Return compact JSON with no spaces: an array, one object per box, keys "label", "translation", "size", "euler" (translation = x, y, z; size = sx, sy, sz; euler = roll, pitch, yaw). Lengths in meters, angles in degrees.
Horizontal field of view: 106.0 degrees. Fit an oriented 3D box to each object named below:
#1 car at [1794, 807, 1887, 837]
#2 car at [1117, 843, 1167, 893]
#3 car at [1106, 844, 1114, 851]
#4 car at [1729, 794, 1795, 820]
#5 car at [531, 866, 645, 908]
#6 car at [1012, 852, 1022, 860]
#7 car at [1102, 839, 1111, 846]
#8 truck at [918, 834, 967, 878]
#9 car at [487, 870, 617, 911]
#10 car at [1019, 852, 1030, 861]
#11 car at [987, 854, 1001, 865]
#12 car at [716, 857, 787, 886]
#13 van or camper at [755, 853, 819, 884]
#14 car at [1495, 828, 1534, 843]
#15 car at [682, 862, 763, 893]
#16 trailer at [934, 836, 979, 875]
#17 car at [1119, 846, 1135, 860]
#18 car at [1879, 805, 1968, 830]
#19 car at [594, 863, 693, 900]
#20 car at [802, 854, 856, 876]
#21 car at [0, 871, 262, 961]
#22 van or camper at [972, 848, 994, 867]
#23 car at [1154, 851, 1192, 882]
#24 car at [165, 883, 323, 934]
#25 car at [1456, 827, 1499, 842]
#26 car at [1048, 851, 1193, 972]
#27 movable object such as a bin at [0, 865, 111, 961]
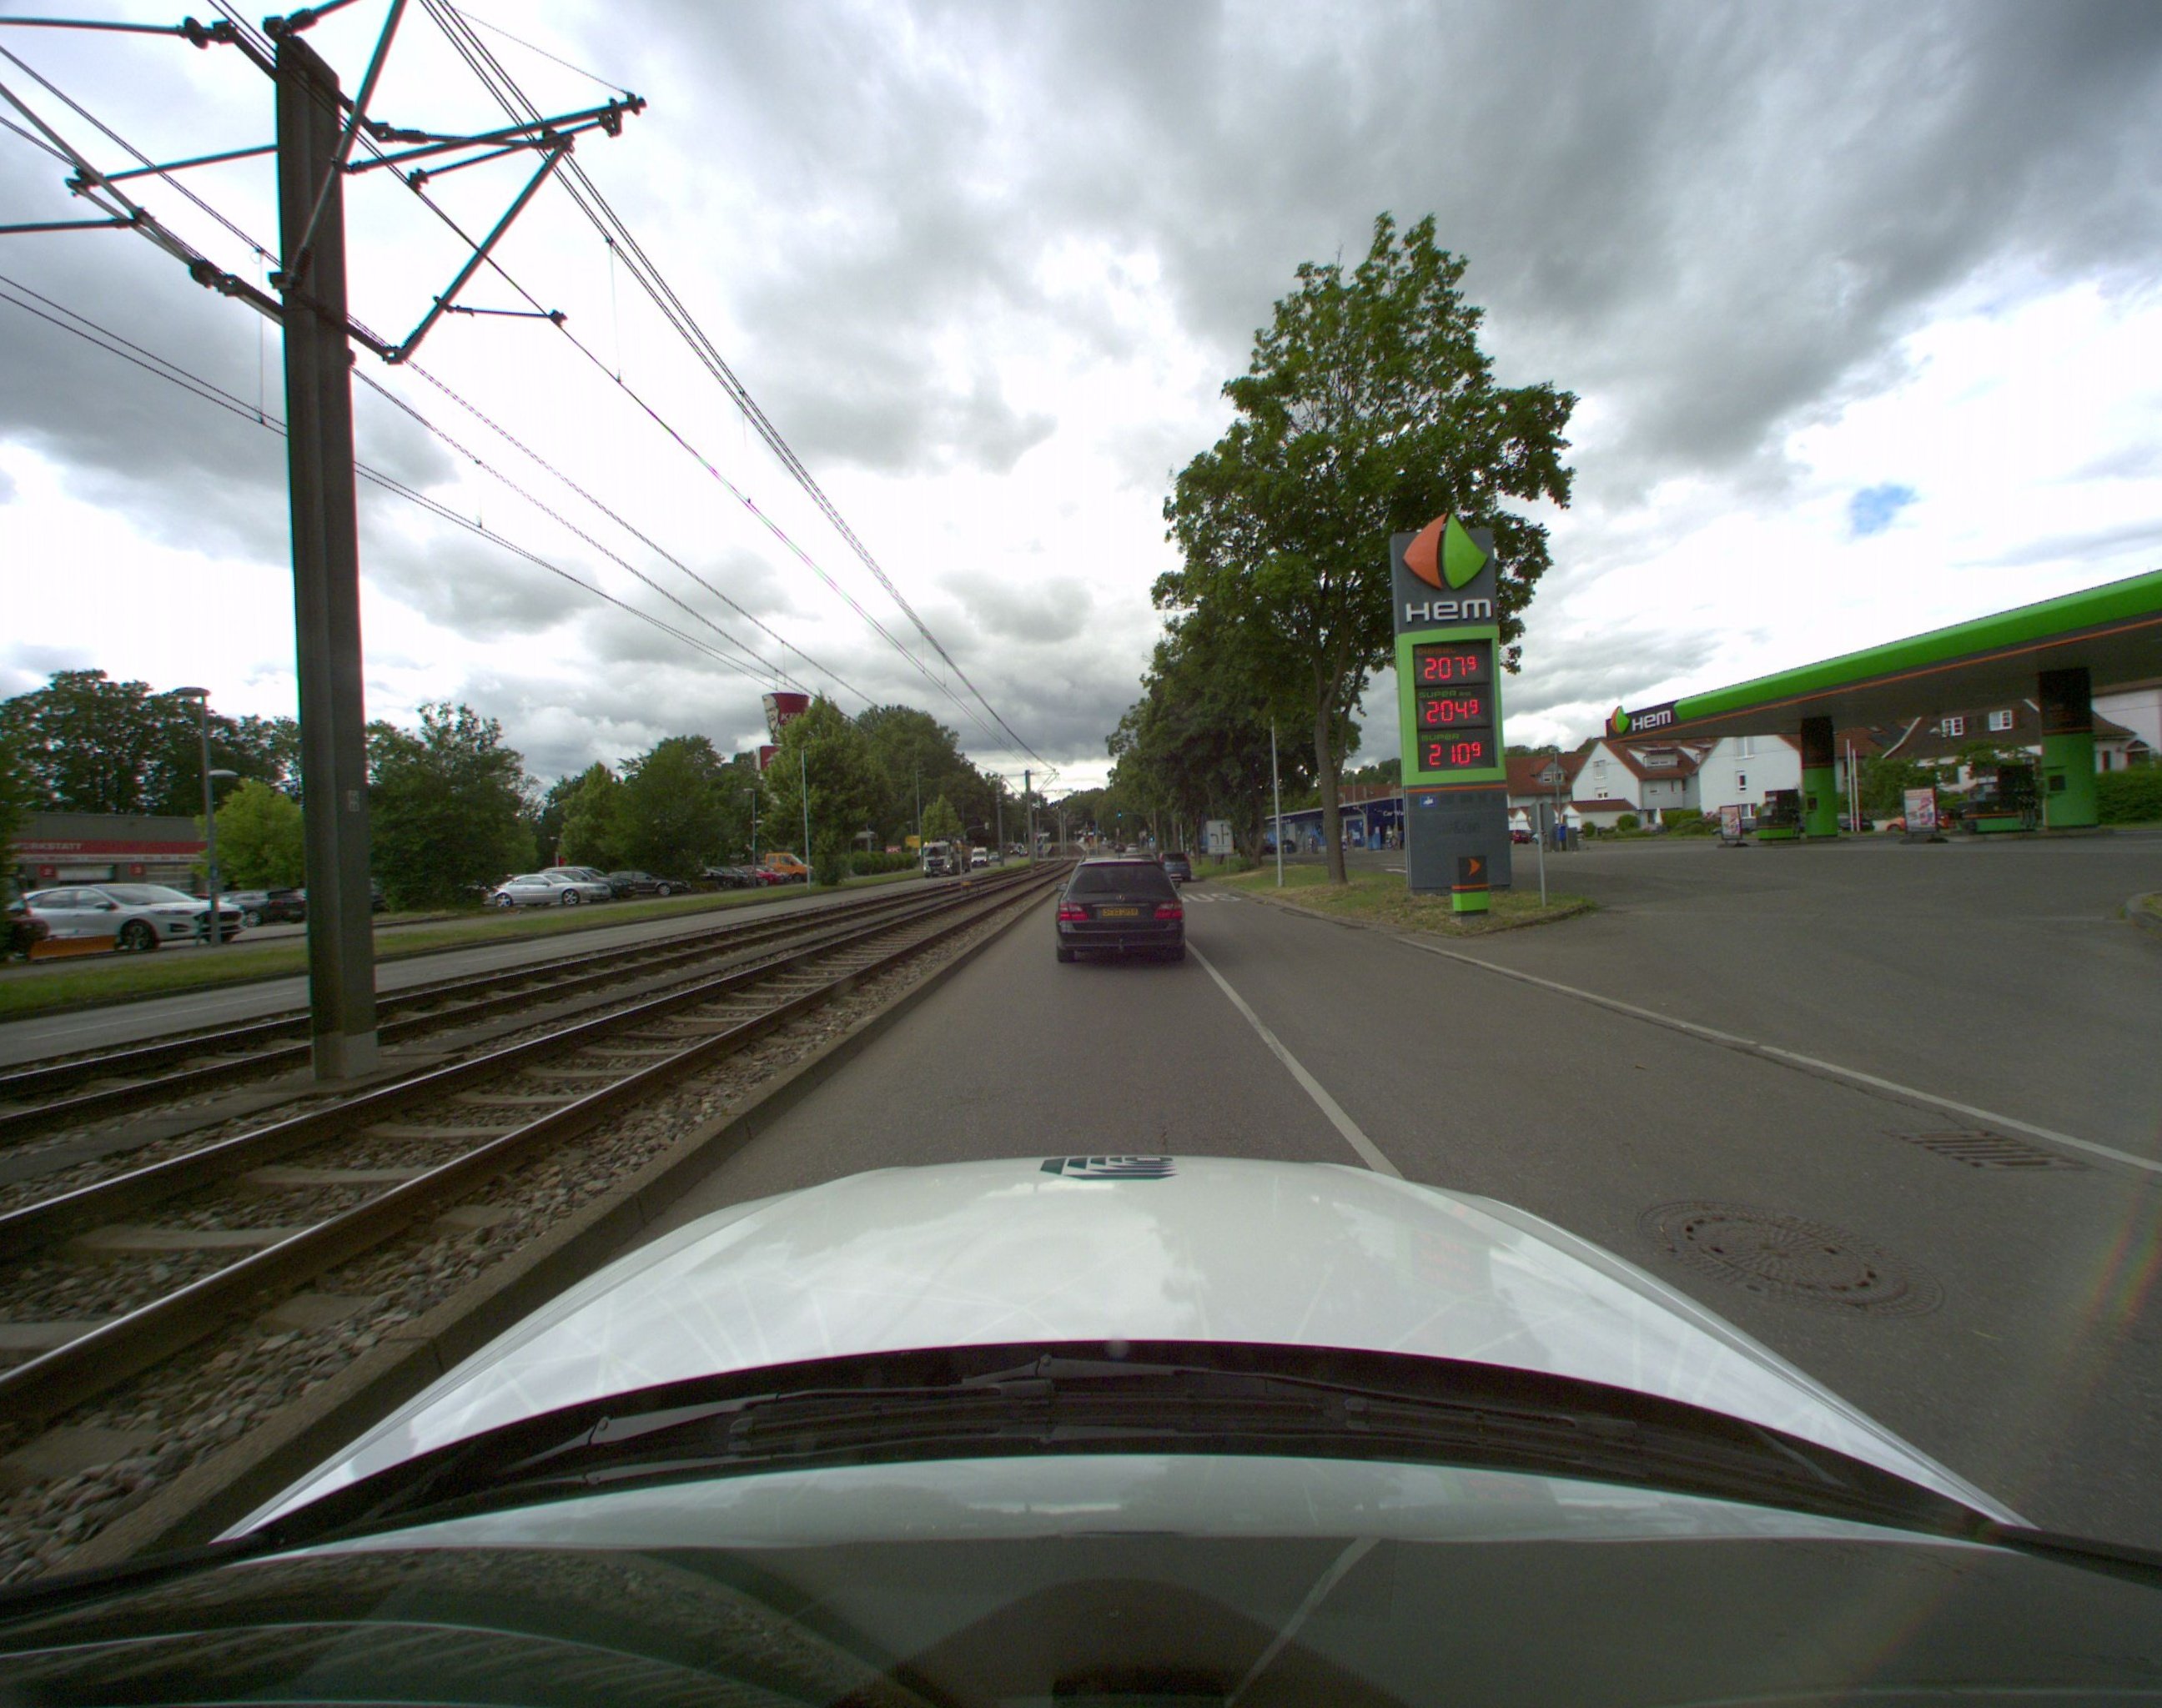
[{"label":"car","translation":[47.390,-1.993,50.938],"size":[1.755,1.689,3.986],"euler":[-1,0,-10]},{"label":"car","translation":[2.272,0.508,31.121],"size":[1.774,1.750,3.719],"euler":[-1,0,2]},{"label":"car","translation":[6.497,-1.540,182.227],"size":[1.662,1.532,3.768],"euler":[-1,0,-2]},{"label":"car","translation":[51.542,-3.540,61.740],"size":[1.683,1.684,4.002],"euler":[-3,0,2]},{"label":"car","translation":[-22.468,1.479,37.239],"size":[3.978,1.635,1.876],"euler":[-3,0,-3]},{"label":"car","translation":[-13.910,0.395,176.125],"size":[1.758,1.647,3.772],"euler":[-1,0,2]},{"label":"car","translation":[6.452,-2.943,205.156],"size":[1.986,1.714,4.002],"euler":[-3,0,2]},{"label":"truck","translation":[-12.773,0.155,76.247],"size":[2.698,3.663,11.107],"euler":[-3,0,-1]},{"label":"car","translation":[-22.387,1.519,34.580],"size":[4.294,1.472,1.680],"euler":[-2,0,-1]},{"label":"car","translation":[-10.608,0.513,153.077],"size":[1.758,1.647,3.772],"euler":[-1,0,2]},{"label":"car","translation":[-14.054,0.881,131.287],"size":[1.758,1.647,3.772],"euler":[-1,0,2]},{"label":"car","translation":[-22.090,1.165,54.688],"size":[3.978,1.797,1.876],"euler":[-1,0,-3]},{"label":"van or camper","translation":[-21.505,1.024,59.738],"size":[3.978,2.135,1.876],"euler":[-1,0,-3]},{"label":"car","translation":[42.005,-1.754,78.928],"size":[1.581,1.394,3.406],"euler":[-1,0,-10]},{"label":"car","translation":[-21.573,1.393,49.139],"size":[3.978,1.599,1.876],"euler":[-3,0,-3]},{"label":"trailer","translation":[-12.944,0.119,85.783],"size":[2.697,3.660,13.292],"euler":[-3,0,-1]},{"label":"car","translation":[6.033,-0.139,106.989],"size":[1.986,1.838,4.002],"euler":[-1,0,2]},{"label":"car","translation":[48.196,-2.068,46.645],"size":[1.416,1.264,3.323],"euler":[-1,0,-10]},{"label":"car","translation":[-22.574,1.408,42.118],"size":[3.978,1.599,1.876],"euler":[-3,0,-3]},{"label":"car","translation":[-21.277,0.931,68.919],"size":[3.978,1.599,1.795],"euler":[-3,0,-3]},{"label":"car","translation":[-22.893,1.447,19.725],"size":[3.978,1.797,1.876],"euler":[-3,0,-3]},{"label":"van or camper","translation":[-12.797,0.397,106.682],"size":[1.987,2.354,5.765],"euler":[-3,0,0]},{"label":"car","translation":[4.415,0.588,39.572],"size":[1.565,1.414,3.355],"euler":[-1,0,2]},{"label":"car","translation":[-33.710,2.160,32.880],"size":[4.271,1.684,1.939],"euler":[-3,0,0]},{"label":"car","translation":[46.244,-2.297,95.072],"size":[4.203,1.684,1.777],"euler":[-1,0,-1]},{"label":"car","translation":[0.565,0.726,12.259],"size":[1.801,1.474,3.882],"euler":[-1,0,2]},{"label":"movable object such as a bin","translation":[-23.929,1.321,17.468],"size":[3.977,1.937,1.678],"euler":[-3,0,-2]}]
